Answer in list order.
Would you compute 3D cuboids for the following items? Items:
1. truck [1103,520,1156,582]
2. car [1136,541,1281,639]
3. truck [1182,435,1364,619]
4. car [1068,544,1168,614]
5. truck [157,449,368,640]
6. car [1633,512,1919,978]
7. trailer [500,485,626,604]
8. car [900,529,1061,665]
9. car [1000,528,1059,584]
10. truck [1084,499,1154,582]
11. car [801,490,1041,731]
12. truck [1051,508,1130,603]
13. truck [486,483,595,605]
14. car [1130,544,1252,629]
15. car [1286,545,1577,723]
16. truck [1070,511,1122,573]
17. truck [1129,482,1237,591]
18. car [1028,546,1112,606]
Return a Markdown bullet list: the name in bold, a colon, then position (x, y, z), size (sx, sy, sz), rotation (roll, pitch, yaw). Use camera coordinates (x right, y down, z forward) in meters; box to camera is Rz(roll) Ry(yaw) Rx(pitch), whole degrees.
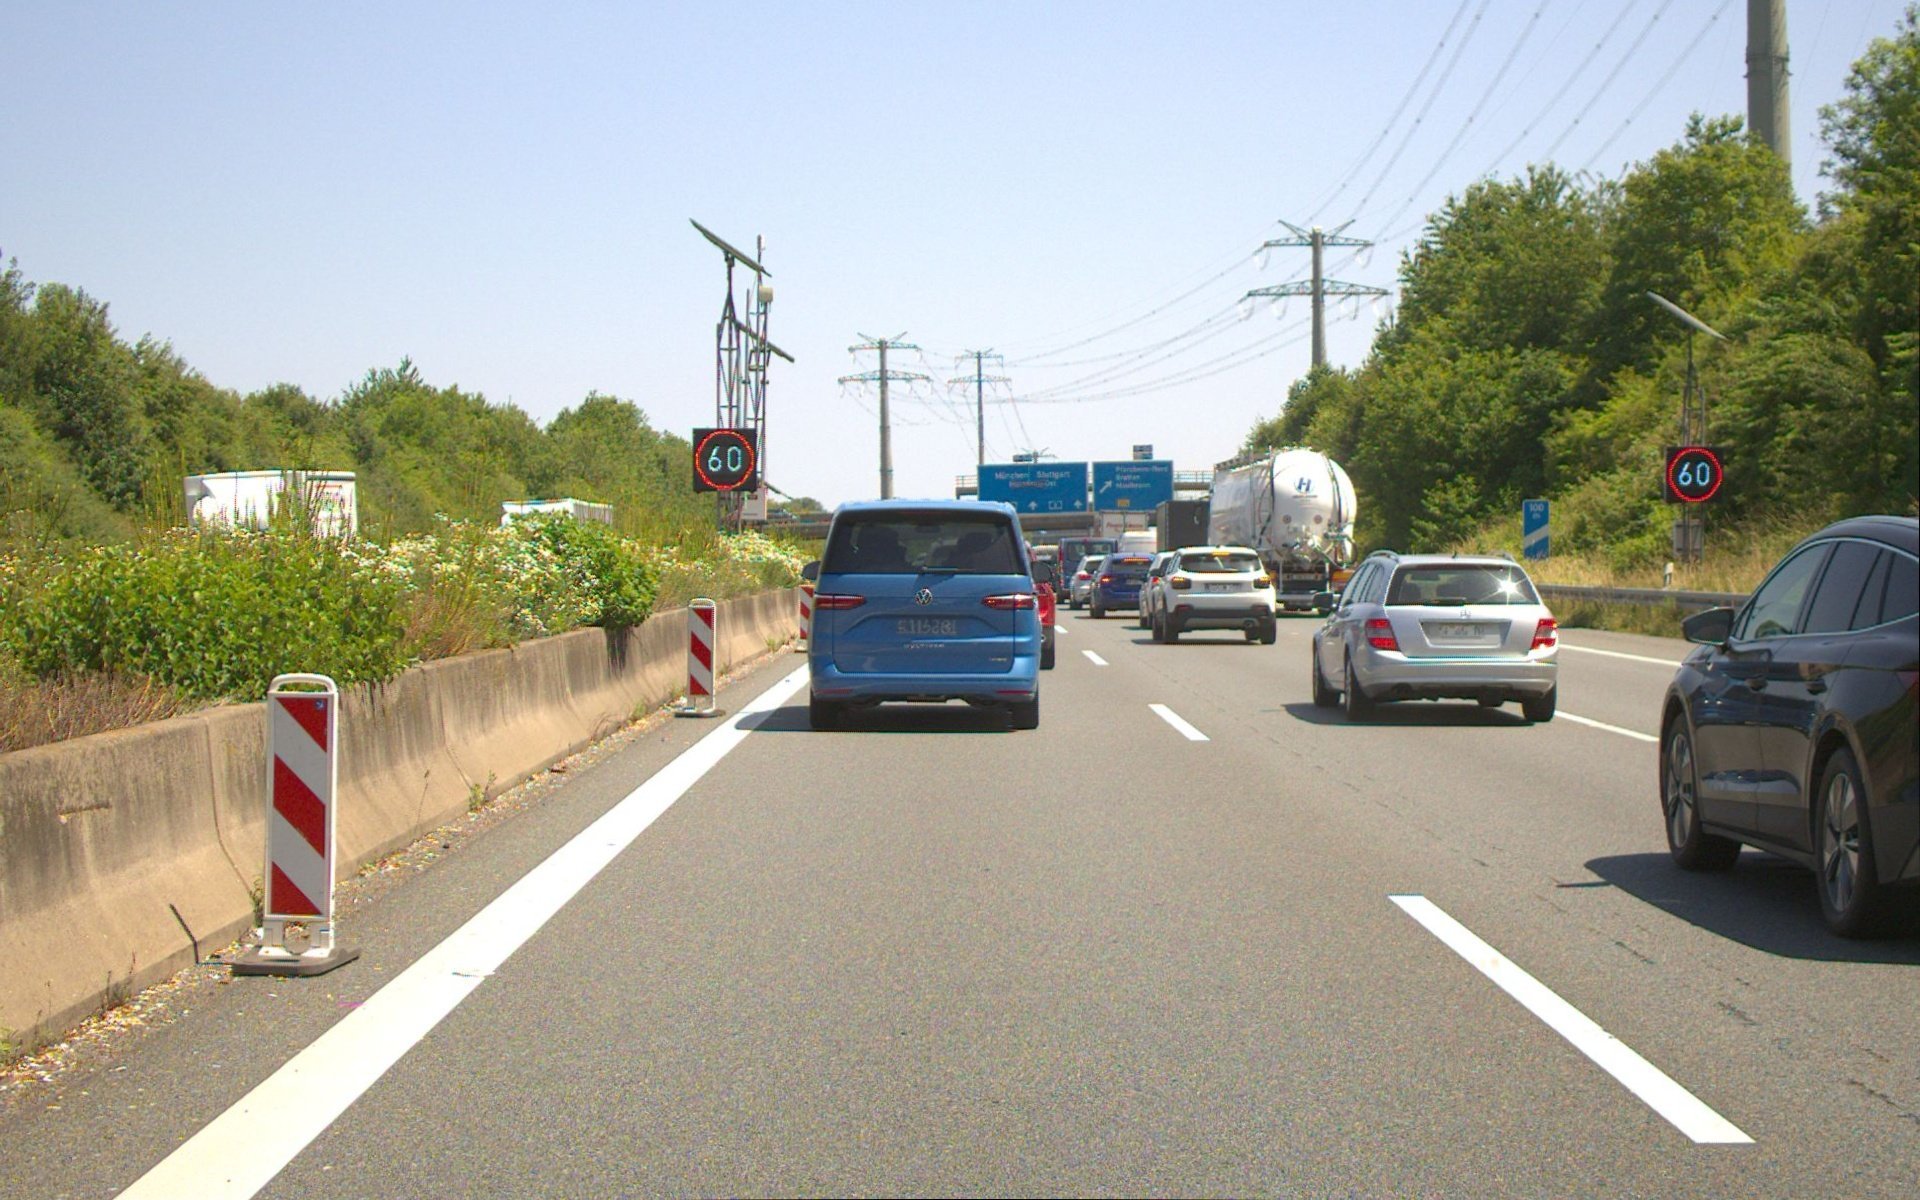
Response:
- **truck**: position (7.659, -2.219, 155.806), size (1.993, 2.714, 5.680), rotation (1, 1, -1)
- **car**: position (3.968, -0.185, 55.381), size (1.908, 1.503, 3.922), rotation (1, 1, -2)
- **truck**: position (7.511, -1.756, 84.962), size (2.644, 4.058, 16.442), rotation (1, 1, -1)
- **car**: position (3.530, -0.494, 77.470), size (1.908, 1.511, 4.384), rotation (1, 1, -2)
- **truck**: position (-15.473, -1.237, 76.972), size (2.762, 3.875, 9.030), rotation (-3, 1, -1)
- **car**: position (4.145, 0.465, 14.090), size (1.828, 1.609, 4.431), rotation (1, 1, -1)
- **trailer**: position (-15.207, -2.140, 132.641), size (3.016, 4.152, 14.021), rotation (-3, 1, 0)
- **car**: position (0.208, -0.072, 43.491), size (1.908, 1.625, 4.384), rotation (0, 1, -1)
- **car**: position (2.545, -1.627, 126.333), size (1.993, 2.007, 4.000), rotation (1, 1, -1)
- **truck**: position (8.607, -3.225, 187.373), size (2.938, 4.276, 12.552), rotation (1, 1, -1)
- **car**: position (-0.390, 0.053, 29.400), size (1.871, 1.872, 4.384), rotation (1, 1, -2)
- **truck**: position (3.844, -1.337, 102.352), size (1.993, 2.714, 5.680), rotation (1, 1, -1)
- **truck**: position (-15.208, -2.029, 124.908), size (3.016, 4.152, 5.806), rotation (-3, 1, 0)
- **car**: position (4.443, -0.283, 66.710), size (1.908, 1.564, 4.384), rotation (1, 1, -2)
- **car**: position (4.097, 0.250, 30.534), size (1.821, 1.432, 4.384), rotation (1, 1, -2)
- **truck**: position (9.777, -4.156, 247.858), size (2.938, 4.276, 12.552), rotation (1, 1, -1)
- **truck**: position (7.651, -2.185, 119.399), size (2.644, 3.526, 12.552), rotation (1, 1, -1)
- **car**: position (2.848, -0.642, 89.901), size (1.908, 1.511, 4.384), rotation (1, 1, -2)
